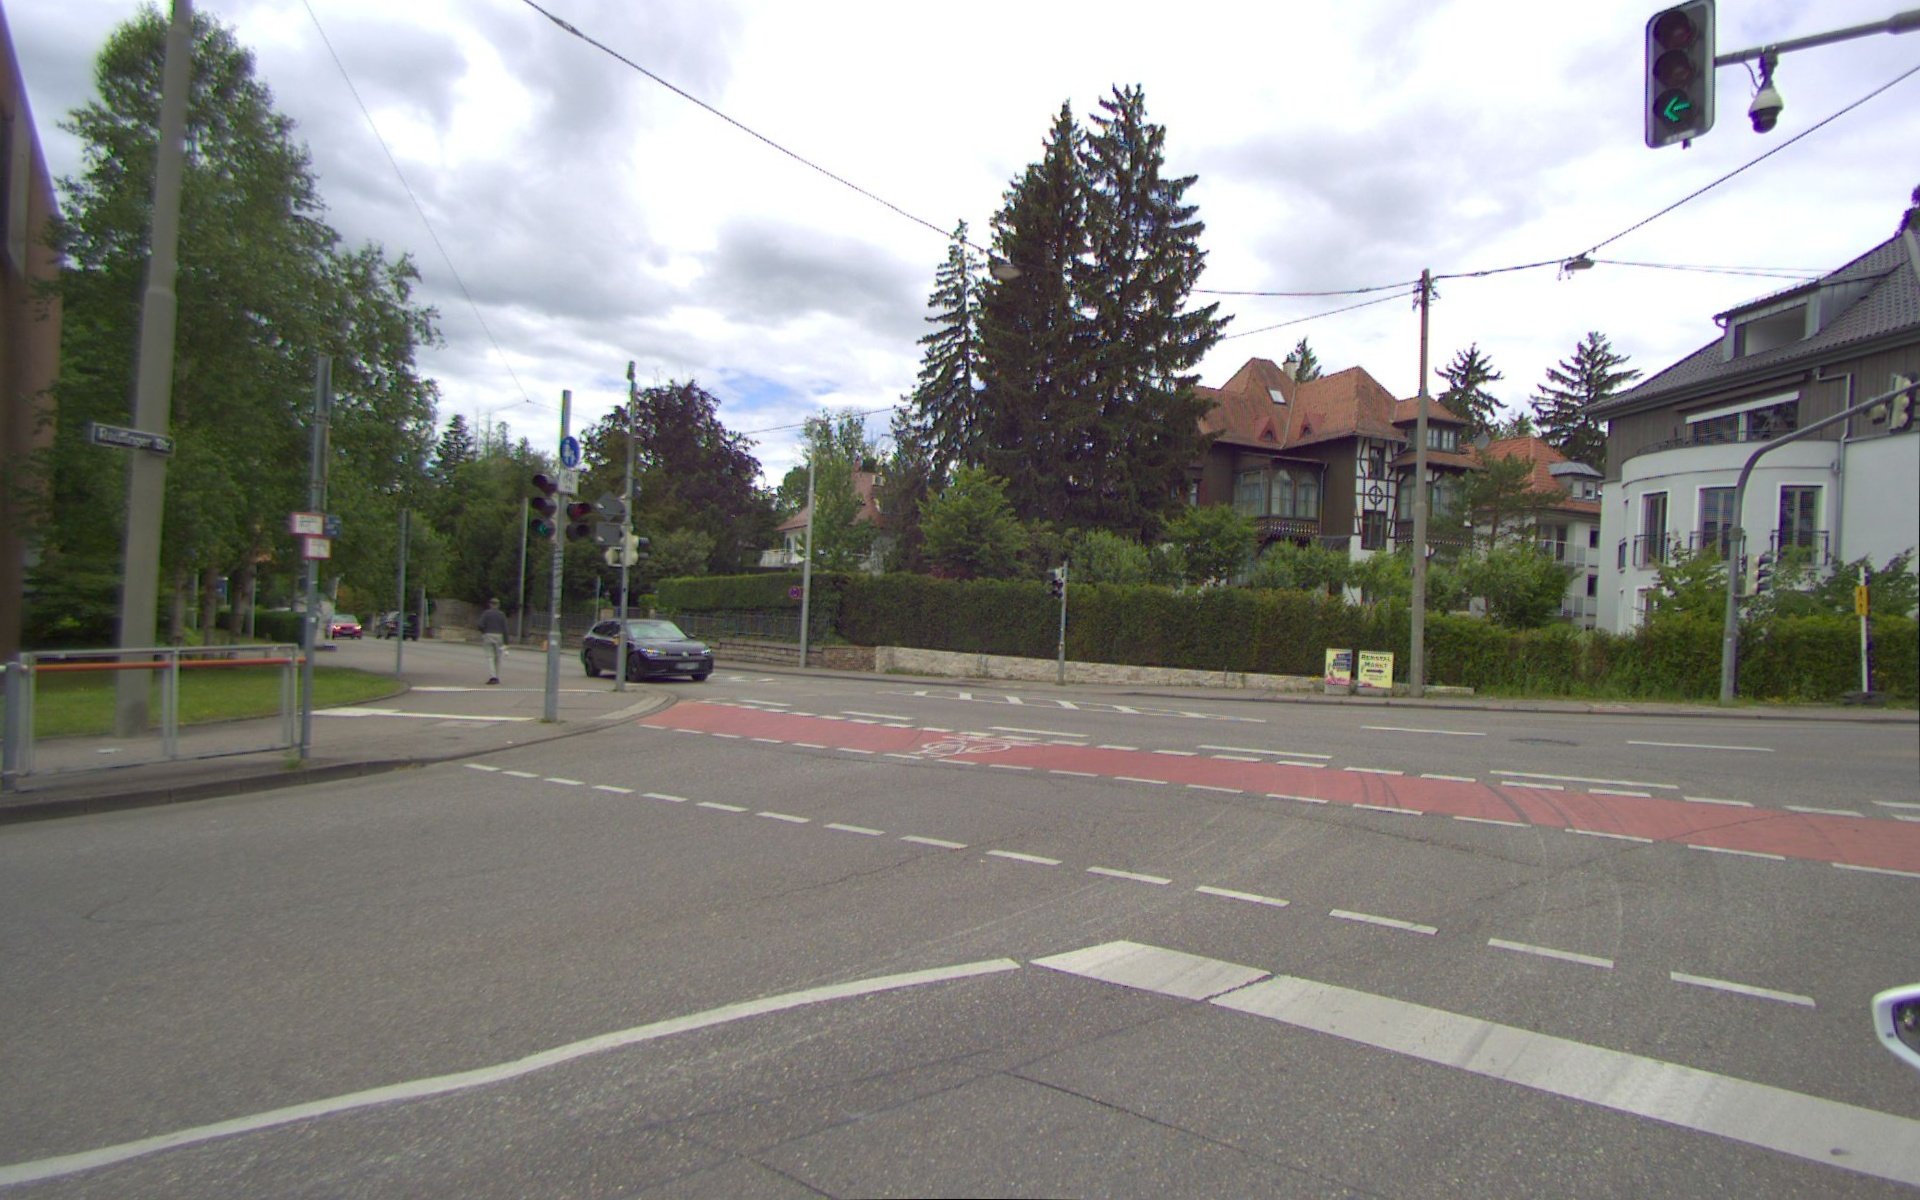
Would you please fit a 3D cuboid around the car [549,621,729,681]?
[{"bbox_3d":[-7.679,1.193,23.977,3.930,1.260,1.996,0,-2,31],"label":"car"}]

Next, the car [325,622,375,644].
[{"bbox_3d":[-38.491,2.058,63.368,1.986,1.216,3.950,2,0,-42],"label":"car"}]
